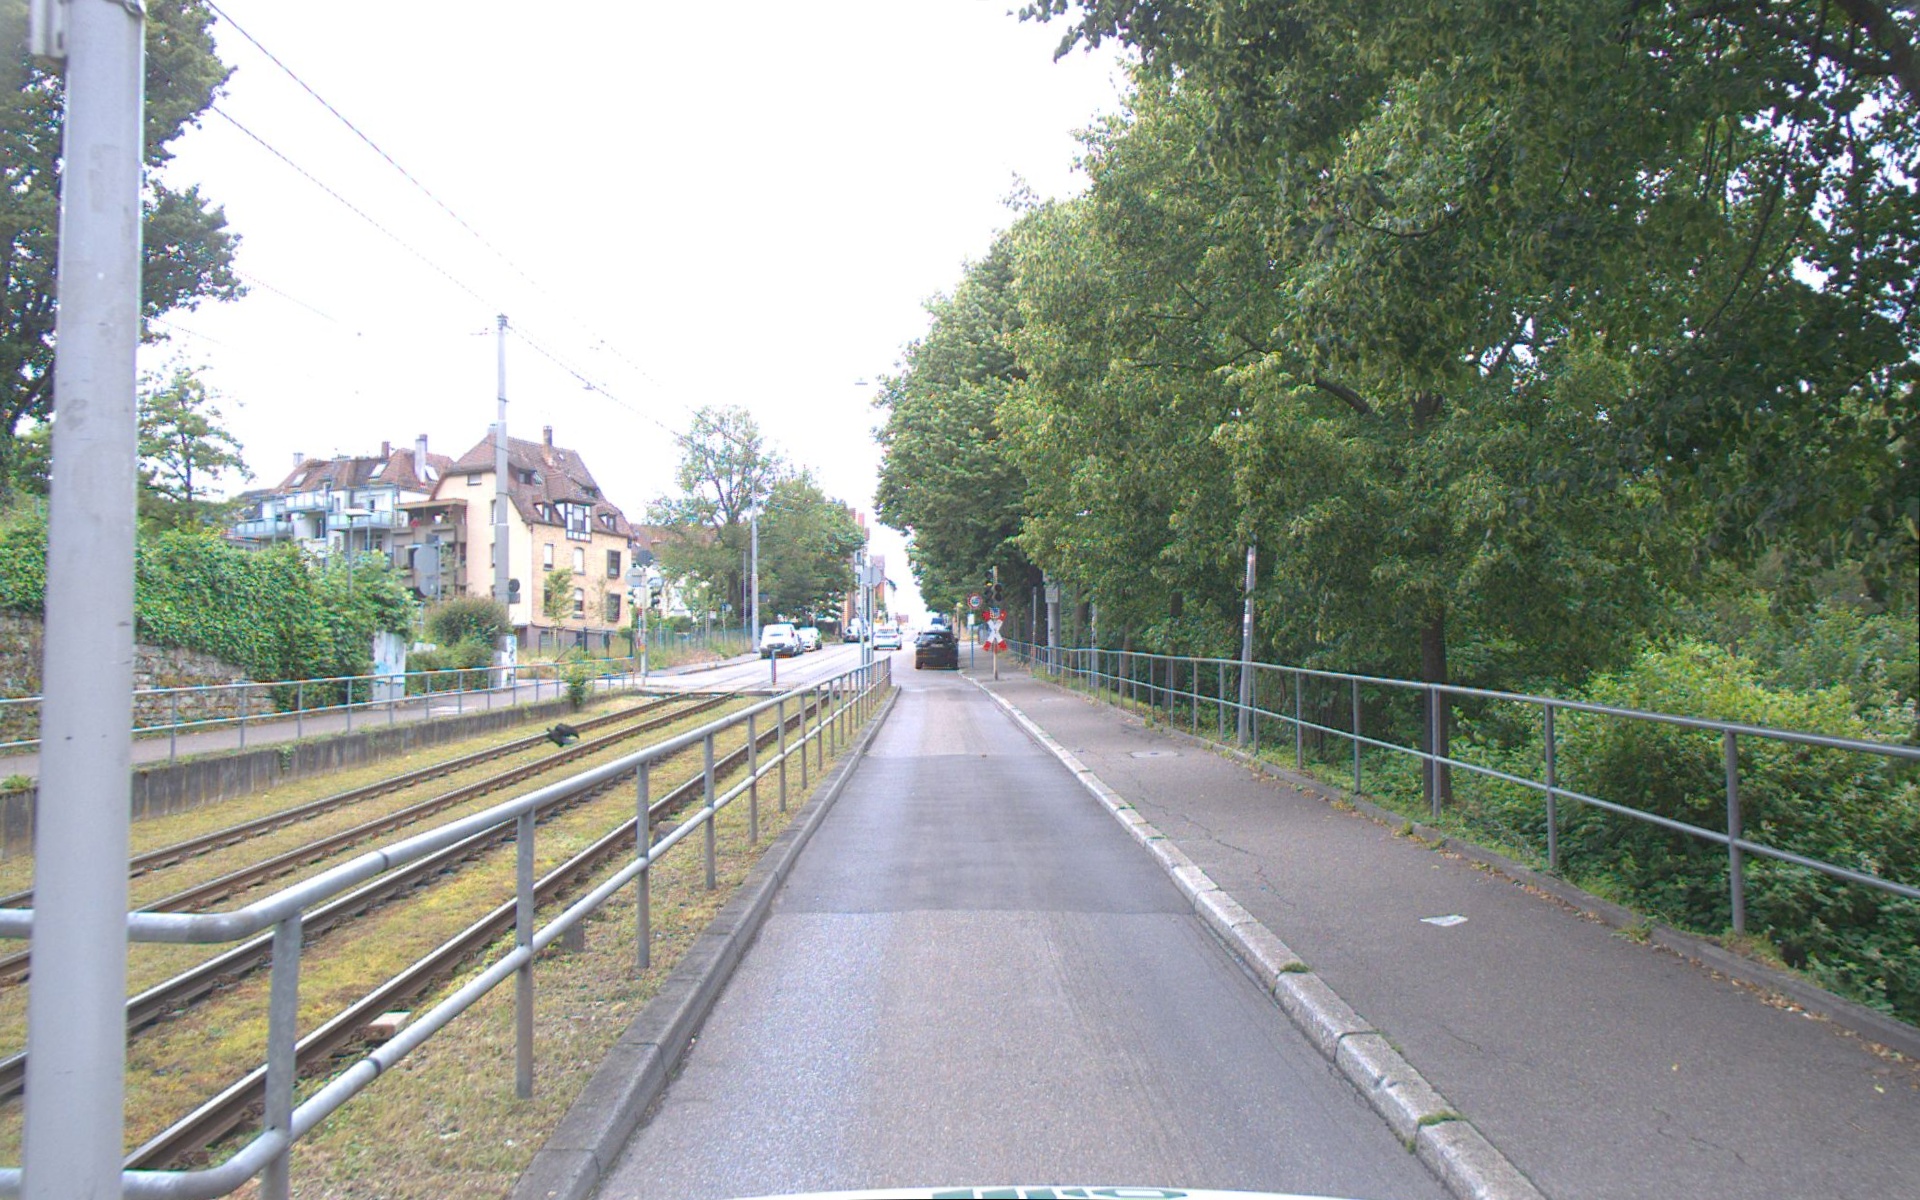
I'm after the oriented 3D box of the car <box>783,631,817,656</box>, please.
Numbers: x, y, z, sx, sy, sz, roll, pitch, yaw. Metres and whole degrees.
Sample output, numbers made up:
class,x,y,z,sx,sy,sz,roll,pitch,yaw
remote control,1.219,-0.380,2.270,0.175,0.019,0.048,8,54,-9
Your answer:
class,x,y,z,sx,sy,sz,roll,pitch,yaw
car,-10.595,2.907,109.680,1.847,1.553,4.662,-2,-1,-1

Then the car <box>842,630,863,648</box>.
class,x,y,z,sx,sy,sz,roll,pitch,yaw
car,-11.457,4.150,175.907,1.952,1.840,4.000,0,-2,1

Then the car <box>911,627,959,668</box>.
class,x,y,z,sx,sy,sz,roll,pitch,yaw
car,-1.022,1.983,69.684,1.865,1.643,4.600,1,-1,1

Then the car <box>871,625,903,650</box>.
class,x,y,z,sx,sy,sz,roll,pitch,yaw
car,-4.725,2.464,107.453,1.953,1.525,4.310,1,-2,-1

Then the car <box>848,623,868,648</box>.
class,x,y,z,sx,sy,sz,roll,pitch,yaw
car,-11.705,4.119,190.399,2.186,2.813,5.795,0,-2,-3

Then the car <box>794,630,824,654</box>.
class,x,y,z,sx,sy,sz,roll,pitch,yaw
car,-10.539,2.939,115.477,1.688,1.607,4.180,-2,-1,-1

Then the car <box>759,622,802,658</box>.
class,x,y,z,sx,sy,sz,roll,pitch,yaw
car,-10.321,2.342,95.404,1.995,1.914,4.882,-3,-2,-2

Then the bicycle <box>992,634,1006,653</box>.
class,x,y,z,sx,sy,sz,roll,pitch,yaw
bicycle,2.087,2.348,89.325,0.419,0.993,1.790,0,-2,-10
